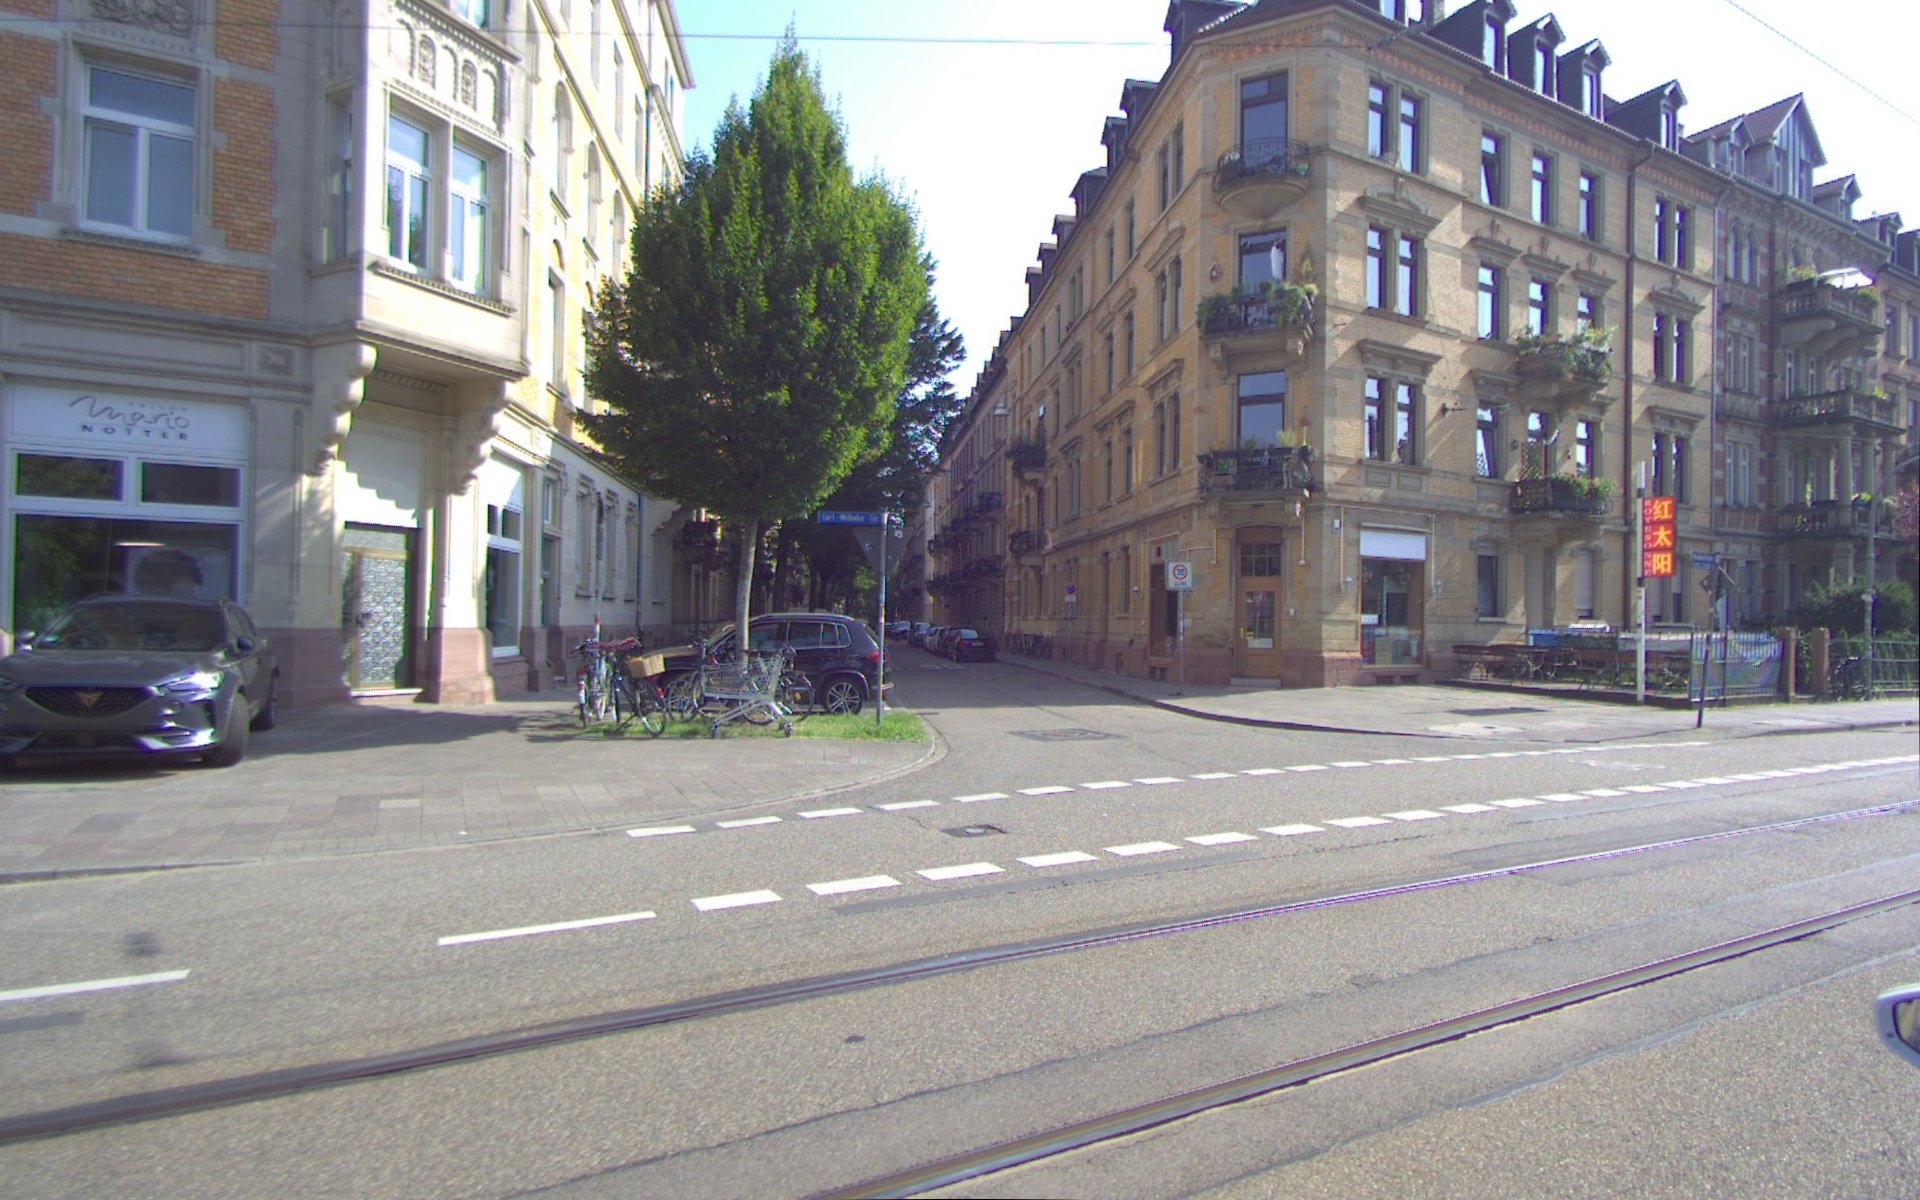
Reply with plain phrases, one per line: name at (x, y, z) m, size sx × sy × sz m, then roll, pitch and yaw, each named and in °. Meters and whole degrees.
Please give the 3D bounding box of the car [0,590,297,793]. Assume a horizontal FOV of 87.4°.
car at (-7.968, 0.731, 9.877) m, size 2.040 × 1.563 × 4.118 m, roll 2°, pitch -1°, yaw -29°

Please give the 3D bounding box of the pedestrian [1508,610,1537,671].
pedestrian at (15.952, 1.141, 28.474) m, size 0.576 × 1.689 × 0.545 m, roll 2°, pitch -1°, yaw -40°

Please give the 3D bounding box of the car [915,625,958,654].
car at (-1.309, 2.119, 54.649) m, size 1.963 × 1.514 × 3.996 m, roll 1°, pitch -1°, yaw -6°

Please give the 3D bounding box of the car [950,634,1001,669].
car at (0.638, 2.207, 43.737) m, size 1.710 × 1.387 × 3.996 m, roll 1°, pitch -1°, yaw -6°

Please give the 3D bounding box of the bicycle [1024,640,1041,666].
bicycle at (3.197, 2.337, 44.469) m, size 0.409 × 1.074 × 1.360 m, roll 1°, pitch -1°, yaw -9°

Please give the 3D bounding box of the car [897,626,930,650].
car at (-3.187, 2.553, 68.059) m, size 1.963 × 1.514 × 3.996 m, roll 1°, pitch -1°, yaw -6°

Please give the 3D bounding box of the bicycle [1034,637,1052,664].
bicycle at (3.428, 2.084, 41.518) m, size 0.409 × 1.074 × 1.360 m, roll 1°, pitch -1°, yaw -9°

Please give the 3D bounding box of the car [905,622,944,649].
car at (-2.114, 2.068, 59.202) m, size 1.963 × 1.514 × 3.996 m, roll 1°, pitch -1°, yaw -6°

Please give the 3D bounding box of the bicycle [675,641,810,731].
bicycle at (-2.914, 1.161, 13.592) m, size 1.741 × 1.175 × 0.483 m, roll 1°, pitch -1°, yaw -10°

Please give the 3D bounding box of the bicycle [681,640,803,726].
bicycle at (-3.264, 1.235, 15.071) m, size 1.744 × 1.245 × 0.541 m, roll 1°, pitch -1°, yaw -16°

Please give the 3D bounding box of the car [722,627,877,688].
car at (-4.204, 1.494, 26.533) m, size 3.873 × 1.474 × 1.766 m, roll 2°, pitch -1°, yaw -8°

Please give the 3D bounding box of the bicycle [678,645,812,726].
bicycle at (-3.026, 1.206, 14.220) m, size 1.804 × 1.104 × 0.542 m, roll 1°, pitch -1°, yaw -11°

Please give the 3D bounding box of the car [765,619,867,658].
car at (-6.670, 1.769, 46.363) m, size 4.460 × 1.578 × 1.764 m, roll 3°, pitch -2°, yaw -13°

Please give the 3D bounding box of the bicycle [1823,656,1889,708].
bicycle at (20.442, 1.860, 22.913) m, size 1.979 × 1.122 × 0.506 m, roll 2°, pitch -1°, yaw -29°

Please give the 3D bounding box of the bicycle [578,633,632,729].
bicycle at (-5.048, 1.114, 14.363) m, size 0.534 × 1.273 × 1.768 m, roll 1°, pitch -2°, yaw -14°

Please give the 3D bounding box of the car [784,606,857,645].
car at (-9.469, 1.745, 68.559) m, size 4.776 × 2.557 × 1.933 m, roll 1°, pitch -1°, yaw -6°

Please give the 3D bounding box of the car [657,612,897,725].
car at (-2.978, 1.104, 16.759) m, size 3.698 × 1.682 × 1.766 m, roll 2°, pitch 0°, yaw -8°

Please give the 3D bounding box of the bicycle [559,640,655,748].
bicycle at (-4.419, 1.123, 12.498) m, size 0.538 × 1.213 × 1.833 m, roll 2°, pitch -2°, yaw -38°

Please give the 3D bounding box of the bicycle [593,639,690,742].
bicycle at (-4.077, 1.106, 12.785) m, size 0.538 × 1.197 × 1.842 m, roll 2°, pitch -2°, yaw -38°

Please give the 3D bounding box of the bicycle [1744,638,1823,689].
bicycle at (19.091, 1.452, 23.310) m, size 0.412 × 1.074 × 1.350 m, roll 1°, pitch 0°, yaw -31°

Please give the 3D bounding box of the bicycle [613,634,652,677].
bicycle at (-8.552, 1.436, 26.305) m, size 0.582 × 1.082 × 2.010 m, roll 1°, pitch -2°, yaw -7°

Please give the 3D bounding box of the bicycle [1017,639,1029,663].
bicycle at (2.890, 2.315, 46.040) m, size 0.409 × 1.074 × 1.362 m, roll 1°, pitch -1°, yaw -2°

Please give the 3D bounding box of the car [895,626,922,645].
car at (-4.325, 2.974, 84.137) m, size 1.963 × 1.514 × 3.996 m, roll 1°, pitch -1°, yaw -6°

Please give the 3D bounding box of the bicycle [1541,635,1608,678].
bicycle at (16.103, 1.468, 26.335) m, size 0.412 × 1.074 × 1.476 m, roll 1°, pitch -2°, yaw -31°

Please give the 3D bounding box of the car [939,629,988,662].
car at (0.116, 2.216, 49.290) m, size 1.963 × 1.514 × 3.996 m, roll 1°, pitch -1°, yaw -6°
